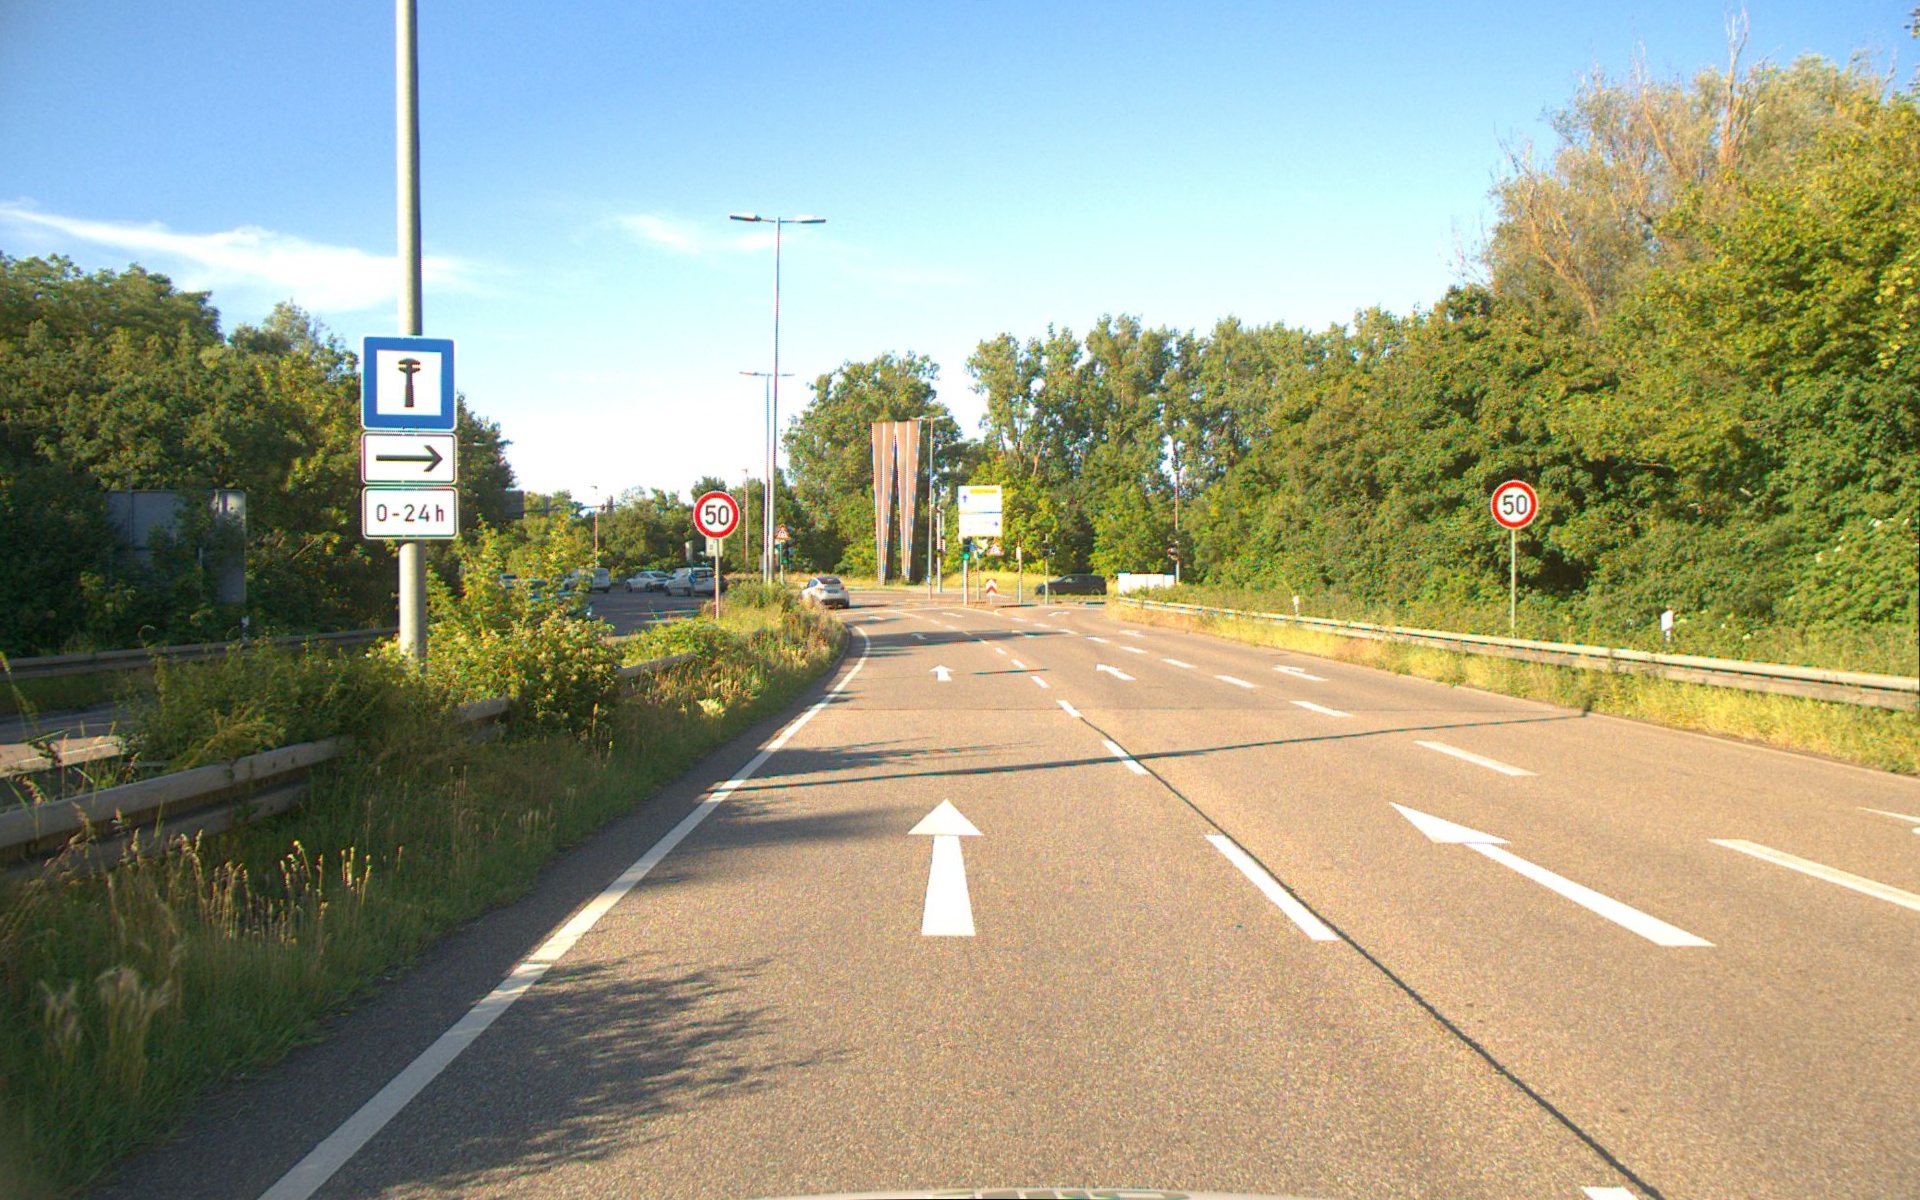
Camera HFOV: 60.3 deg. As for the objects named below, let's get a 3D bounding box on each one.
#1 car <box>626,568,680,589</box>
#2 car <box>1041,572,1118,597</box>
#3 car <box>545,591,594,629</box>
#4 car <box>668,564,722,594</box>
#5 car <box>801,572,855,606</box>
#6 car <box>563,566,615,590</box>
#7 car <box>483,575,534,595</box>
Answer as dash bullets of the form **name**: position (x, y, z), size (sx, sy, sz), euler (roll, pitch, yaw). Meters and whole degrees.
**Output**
- **car**: position (-22.611, -1.594, 121.868), size (4.085, 1.500, 1.962), euler (1, 2, 45)
- **car**: position (7.267, -0.973, 100.857), size (4.376, 1.489, 1.996), euler (0, 2, -10)
- **car**: position (-16.177, 0.394, 68.738), size (1.853, 1.445, 4.350), euler (-3, 1, -13)
- **car**: position (-17.553, -1.374, 109.312), size (1.976, 1.912, 4.200), euler (-2, 1, -33)
- **car**: position (-6.855, -0.580, 85.470), size (1.962, 1.668, 4.109), euler (-1, 1, -17)
- **car**: position (-27.336, -1.642, 121.743), size (1.961, 1.728, 3.935), euler (-2, 2, -44)
- **car**: position (-37.014, -1.228, 135.485), size (3.928, 1.534, 2.260), euler (0, 1, 42)
